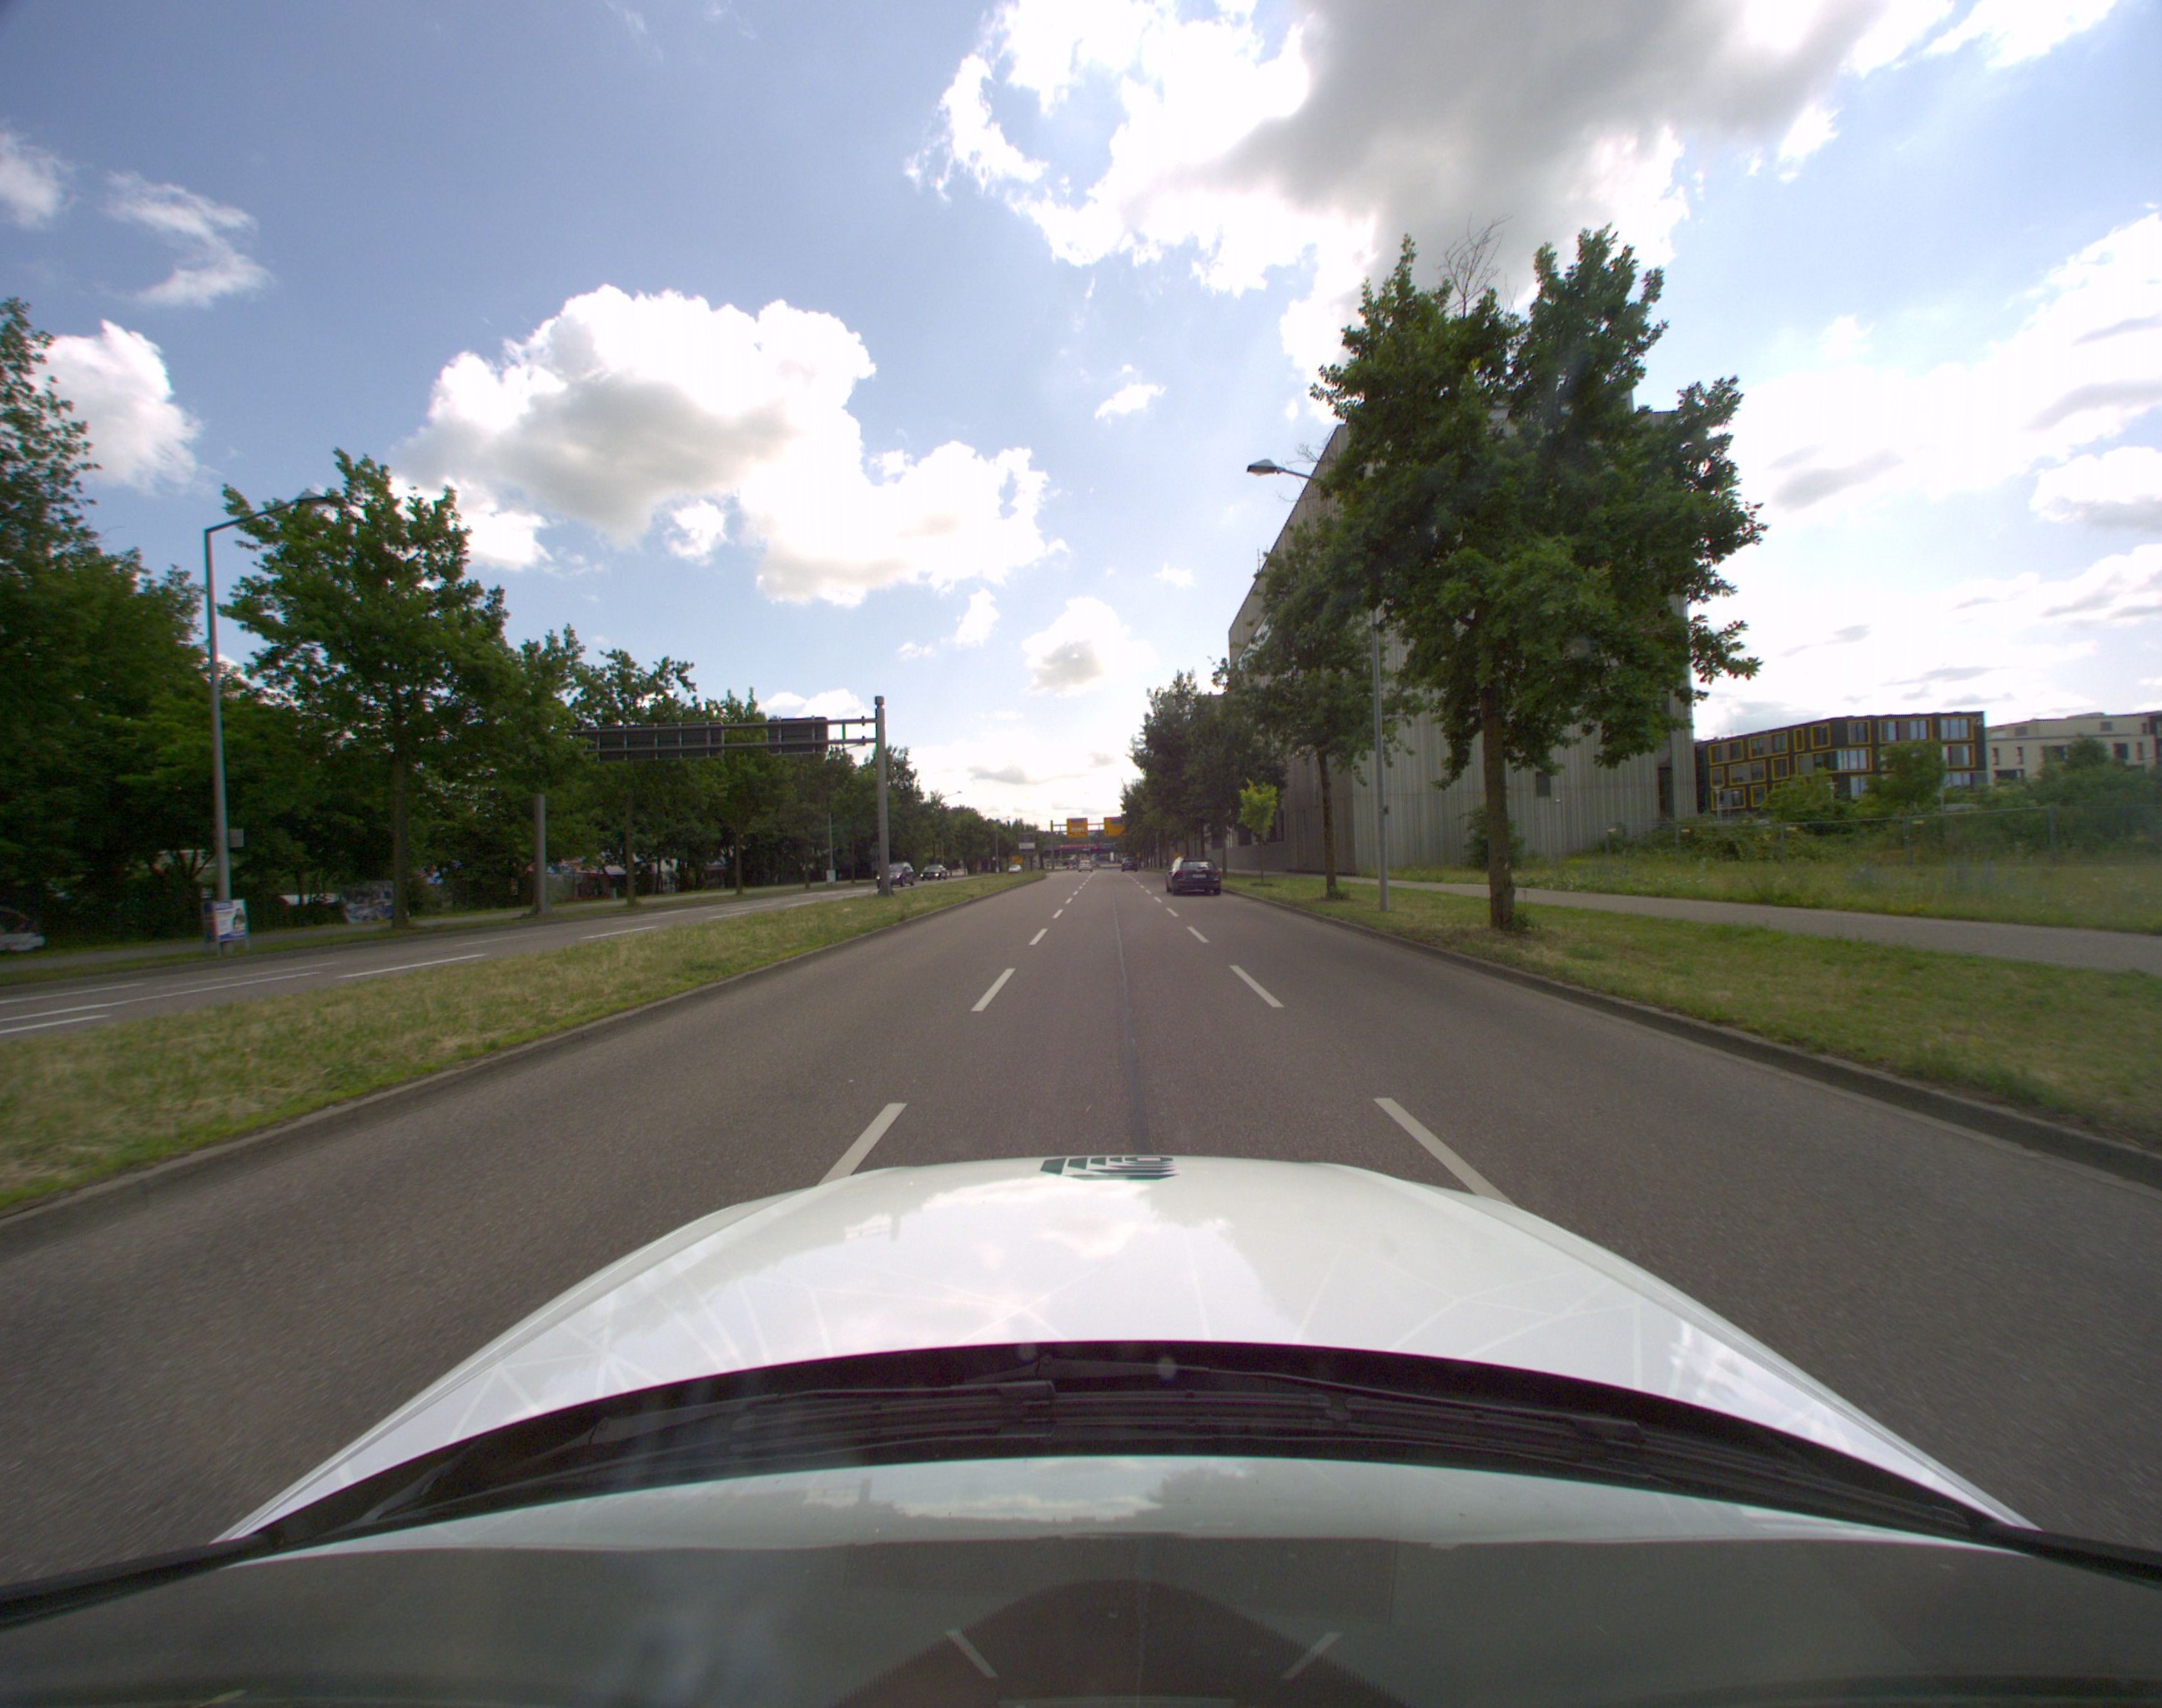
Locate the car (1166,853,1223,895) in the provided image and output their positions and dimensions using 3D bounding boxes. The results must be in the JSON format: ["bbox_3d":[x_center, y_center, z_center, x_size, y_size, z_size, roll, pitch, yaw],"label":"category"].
[{"bbox_3d":[4.275,0.756,31.228,1.678,1.463,4.000,-1,-1,1],"label":"car"}]

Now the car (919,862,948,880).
[{"bbox_3d":[-13.977,1.608,77.539,1.735,1.545,4.574,-3,-1,1],"label":"car"}]

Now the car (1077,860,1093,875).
[{"bbox_3d":[0.553,1.757,106.041,1.988,2.014,3.998,-1,-1,-1],"label":"car"}]

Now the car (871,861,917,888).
[{"bbox_3d":[-12.102,1.306,52.930,1.734,1.569,4.279,-3,-1,3],"label":"car"}]

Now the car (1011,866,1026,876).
[{"bbox_3d":[-9.840,2.662,128.986,1.632,1.329,4.387,-2,0,5],"label":"car"}]

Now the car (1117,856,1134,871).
[{"bbox_3d":[5.311,1.081,96.838,1.985,1.626,4.314,-2,0,4],"label":"car"}]

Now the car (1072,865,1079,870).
[{"bbox_3d":[-1.809,4.287,260.273,1.985,1.618,4.003,-2,-1,3],"label":"car"}]
